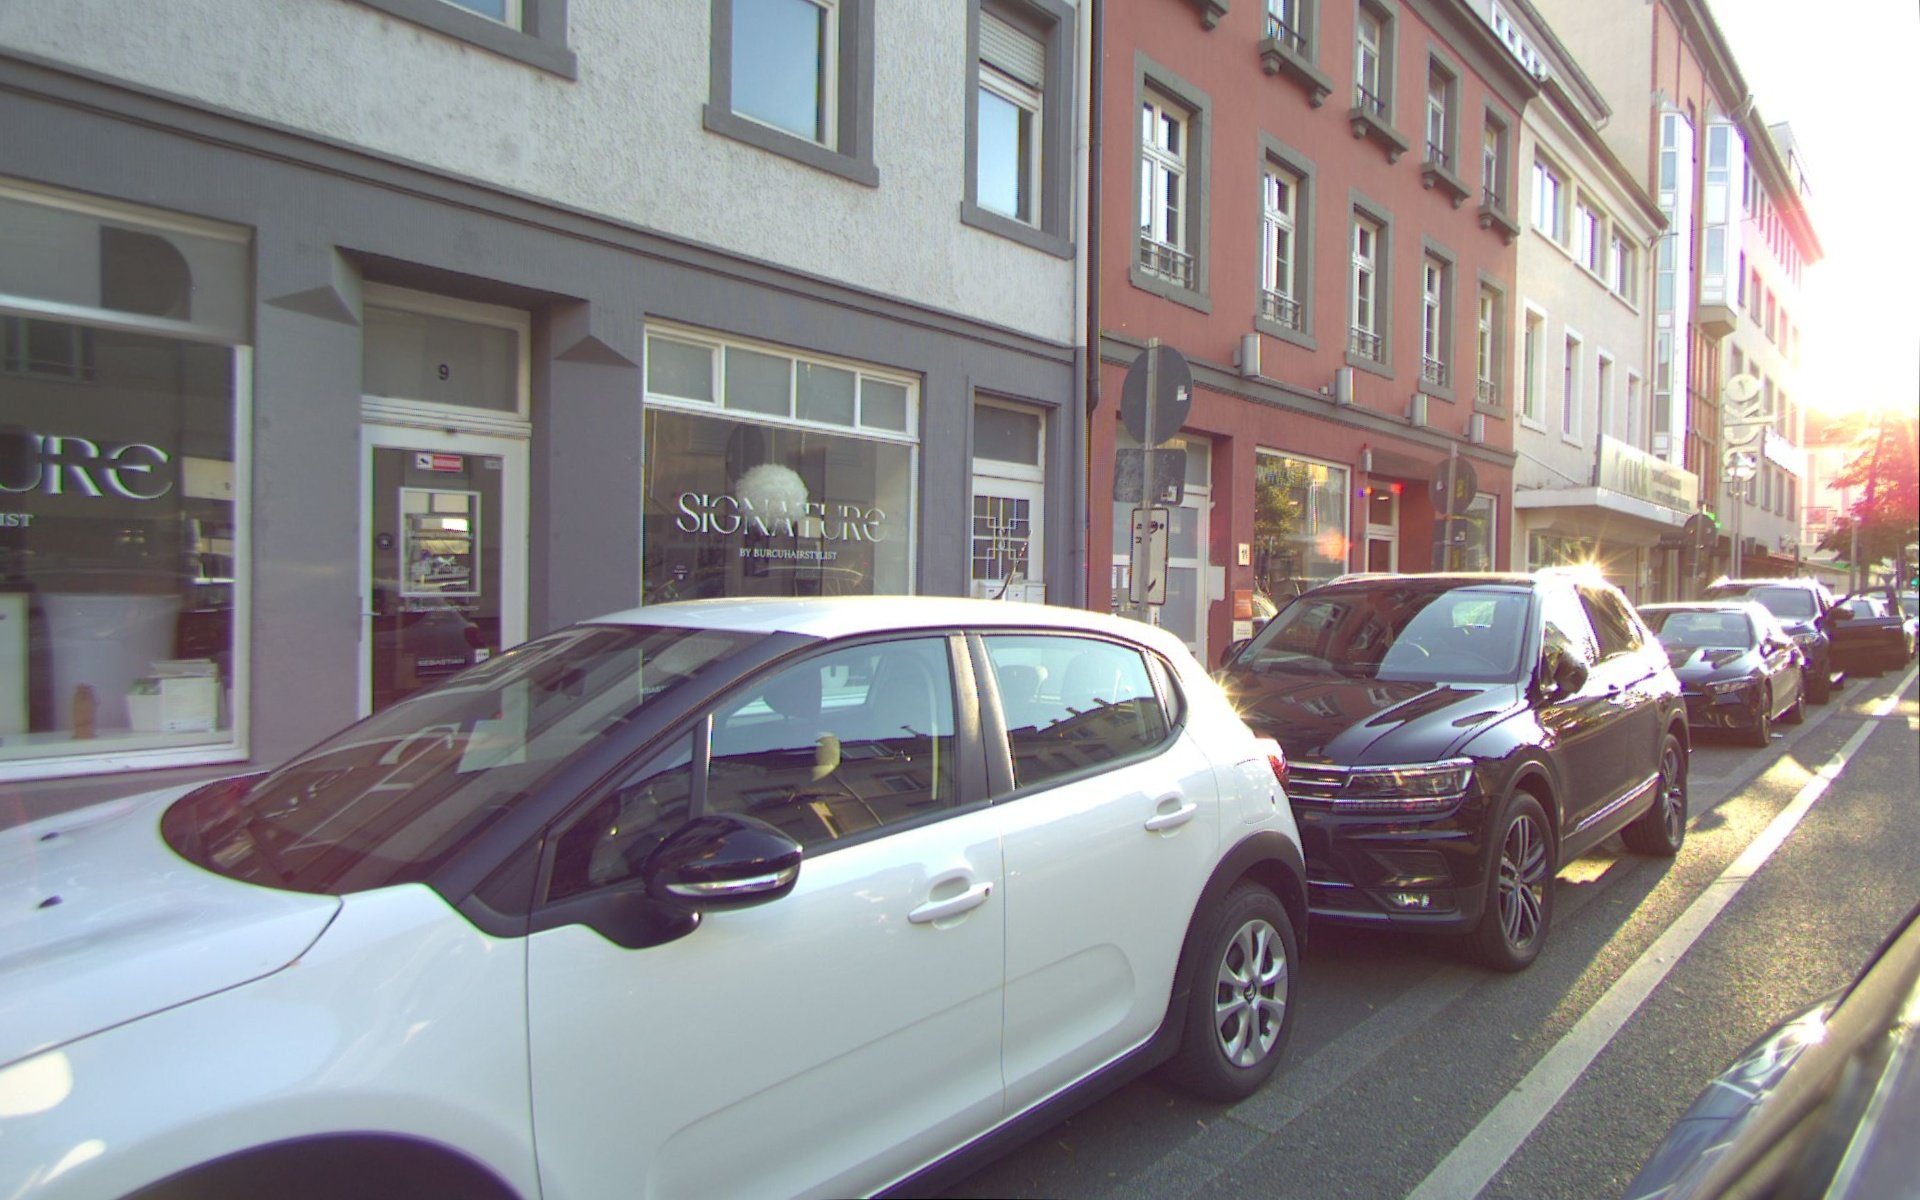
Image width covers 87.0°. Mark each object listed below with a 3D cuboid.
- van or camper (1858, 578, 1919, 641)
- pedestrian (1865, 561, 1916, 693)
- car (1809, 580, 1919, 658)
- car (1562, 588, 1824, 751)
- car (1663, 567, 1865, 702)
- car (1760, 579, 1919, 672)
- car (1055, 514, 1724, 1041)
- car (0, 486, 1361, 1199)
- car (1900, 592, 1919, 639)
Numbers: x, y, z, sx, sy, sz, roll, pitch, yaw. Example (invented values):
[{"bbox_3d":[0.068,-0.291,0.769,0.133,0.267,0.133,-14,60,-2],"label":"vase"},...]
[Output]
[{"bbox_3d":[28.902,0.257,31.047,1.786,1.795,4.493,2,2,39],"label":"van or camper"},{"bbox_3d":[13.545,0.375,14.741,0.483,1.881,0.532,1,1,39],"label":"pedestrian"},{"bbox_3d":[22.054,0.382,24.374,4.406,1.675,1.995,-1,2,-44],"label":"car"},{"bbox_3d":[8.479,0.640,11.547,4.338,1.507,1.686,-1,-1,-44],"label":"car"},{"bbox_3d":[12.883,0.426,16.064,1.994,1.799,5.234,1,1,44],"label":"car"},{"bbox_3d":[17.946,0.429,20.558,4.550,1.676,1.996,-1,1,-43],"label":"car"},{"bbox_3d":[2.623,0.562,5.497,4.387,1.720,1.795,-1,0,-44],"label":"car"},{"bbox_3d":[-0.679,0.659,2.578,3.868,1.593,1.663,-1,0,-43],"label":"car"},{"bbox_3d":[33.281,0.525,34.325,3.722,1.521,1.692,-1,2,-42],"label":"car"}]
